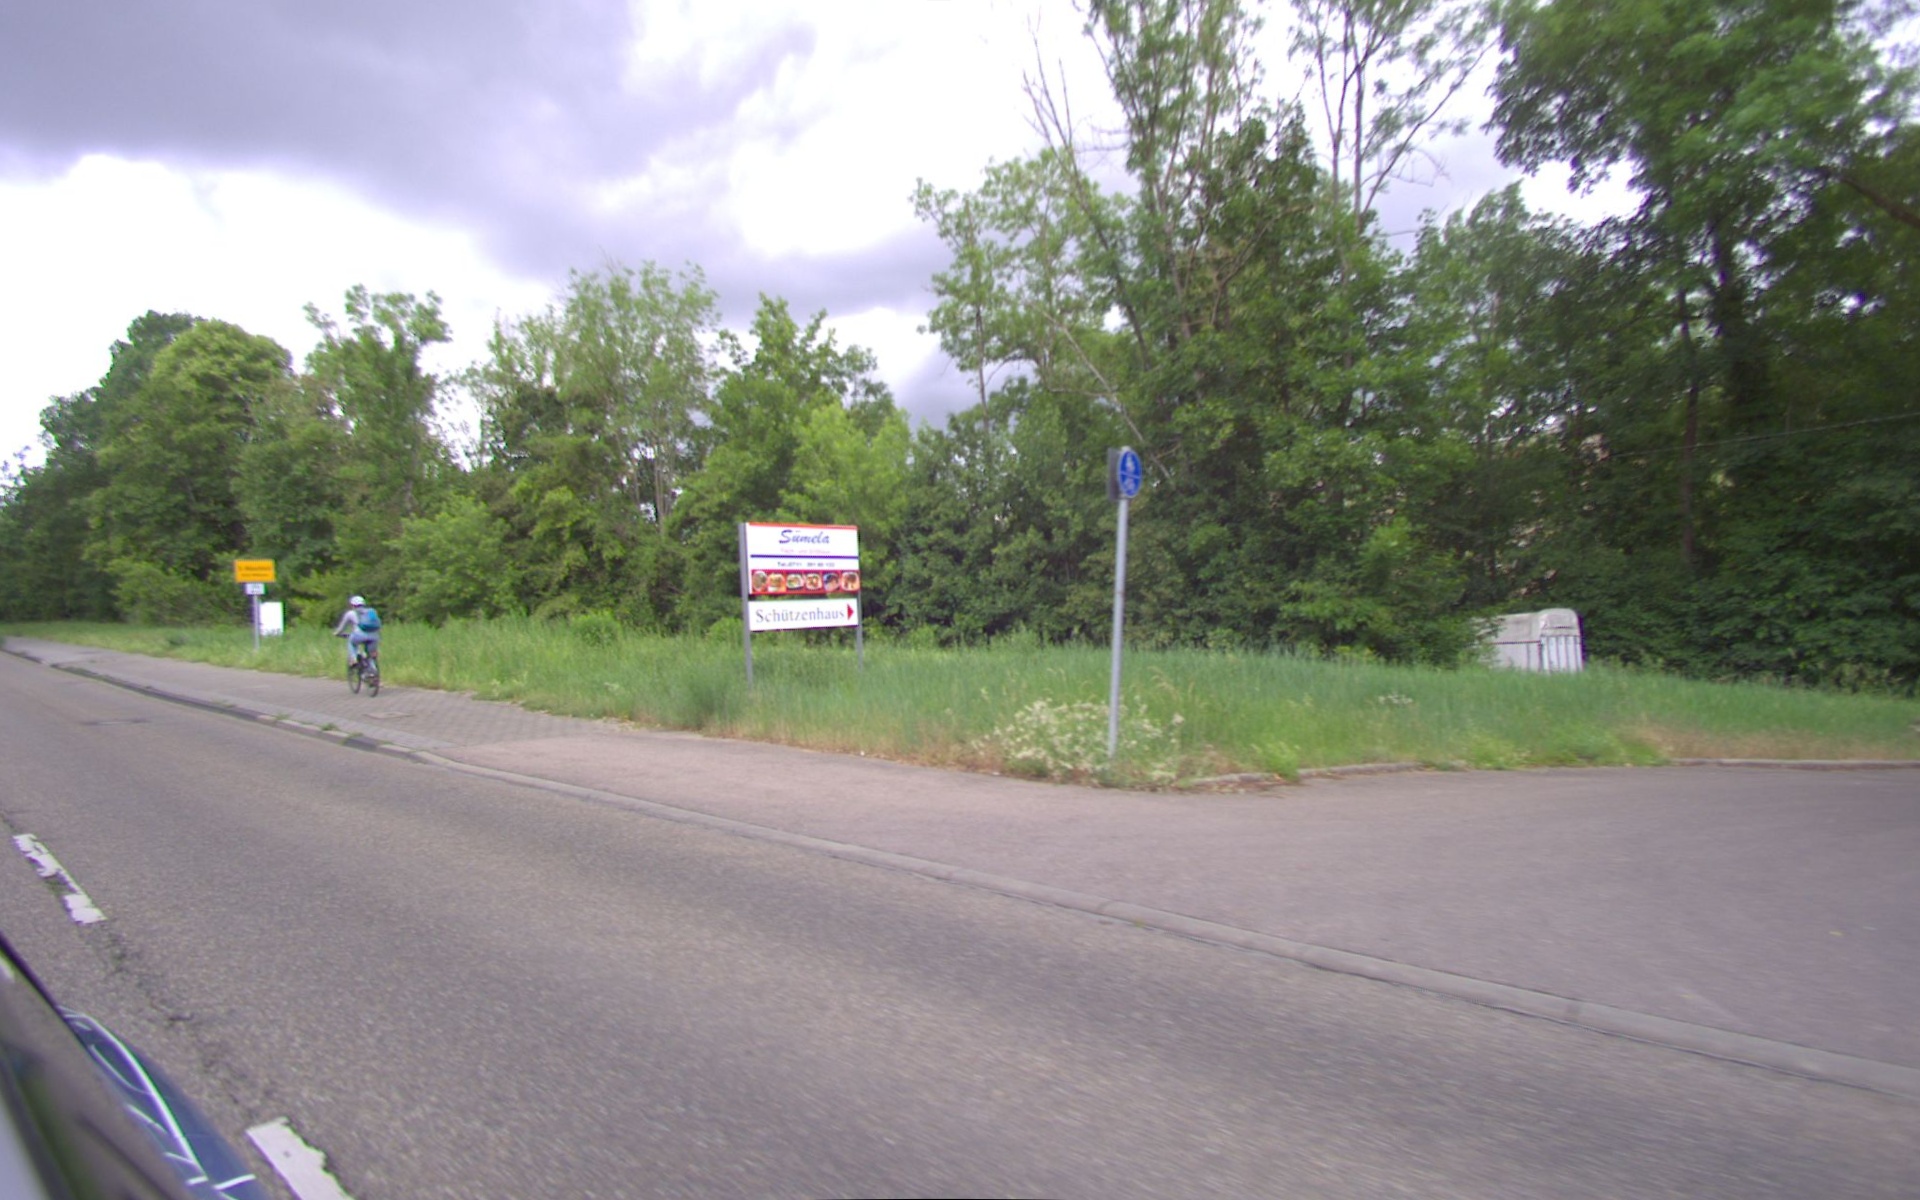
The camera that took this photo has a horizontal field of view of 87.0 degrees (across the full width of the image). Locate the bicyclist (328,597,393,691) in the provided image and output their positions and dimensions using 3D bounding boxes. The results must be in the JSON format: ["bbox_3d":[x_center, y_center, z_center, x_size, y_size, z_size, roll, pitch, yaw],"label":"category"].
[{"bbox_3d":[-10.178,0.727,17.169,0.658,1.531,1.272,0,-1,-44],"label":"bicyclist"}]

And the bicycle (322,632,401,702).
[{"bbox_3d":[-10.171,1.098,17.167,0.658,1.082,2.147,0,-1,-44],"label":"bicycle"}]
